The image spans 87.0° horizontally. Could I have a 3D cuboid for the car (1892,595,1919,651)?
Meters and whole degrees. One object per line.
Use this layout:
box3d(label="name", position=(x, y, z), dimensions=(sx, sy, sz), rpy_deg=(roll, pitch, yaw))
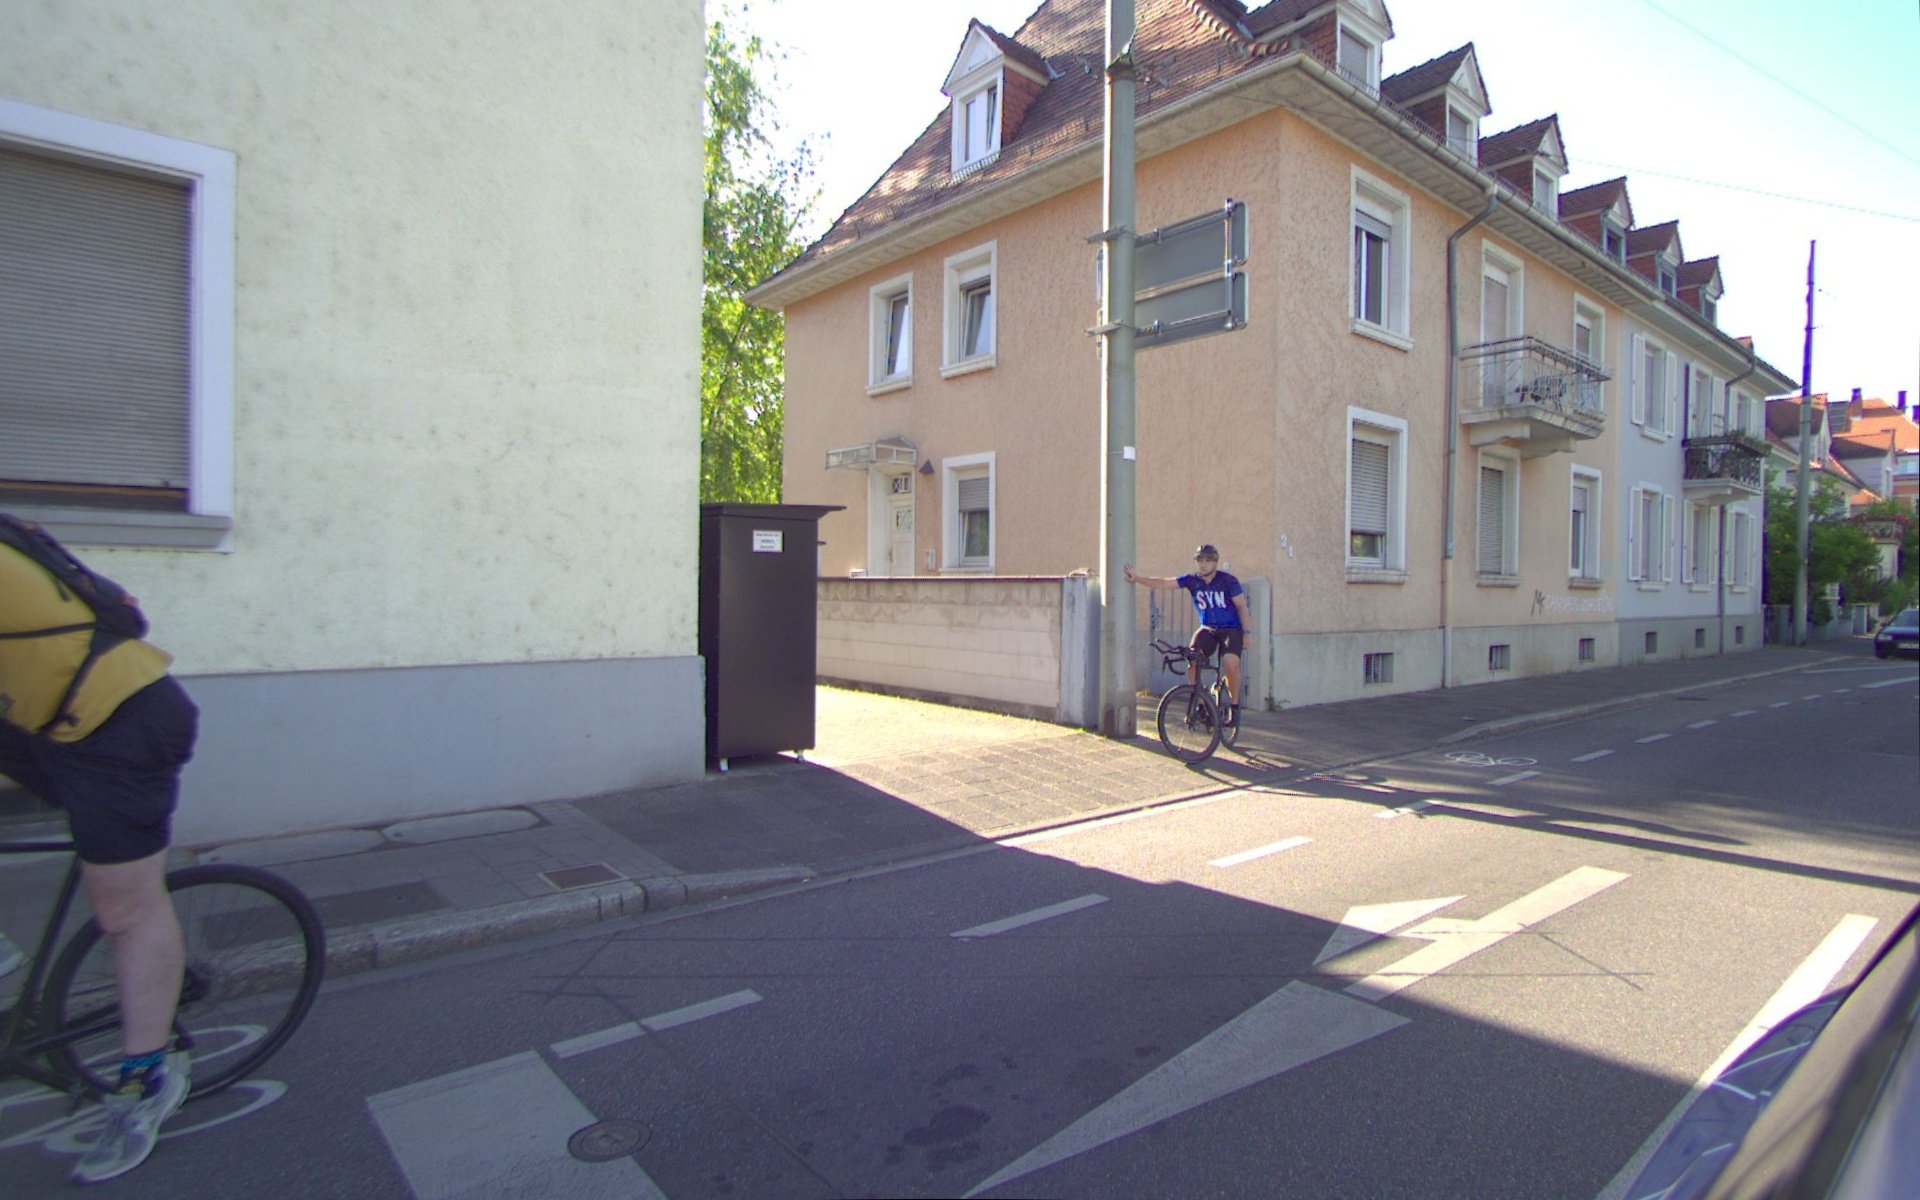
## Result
box3d(label="car", position=(26.642, 0.609, 27.323), dimensions=(3.932, 1.438, 1.845), rpy_deg=(0, 1, -42))

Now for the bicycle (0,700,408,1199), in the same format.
box3d(label="bicycle", position=(-2.465, 0.895, 2.574), dimensions=(1.778, 1.101, 0.611), rpy_deg=(0, 1, -41))

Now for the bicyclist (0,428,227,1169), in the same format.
box3d(label="bicyclist", position=(-2.474, 0.462, 2.573), dimensions=(0.939, 1.743, 0.582), rpy_deg=(0, 0, -41))

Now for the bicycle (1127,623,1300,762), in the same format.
box3d(label="bicycle", position=(2.332, 0.792, 9.209), dimensions=(1.689, 1.064, 0.595), rpy_deg=(0, 6, -41))

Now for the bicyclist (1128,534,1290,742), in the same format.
box3d(label="bicyclist", position=(2.322, 0.307, 9.505), dimensions=(0.838, 1.758, 1.072), rpy_deg=(0, 6, -40))
